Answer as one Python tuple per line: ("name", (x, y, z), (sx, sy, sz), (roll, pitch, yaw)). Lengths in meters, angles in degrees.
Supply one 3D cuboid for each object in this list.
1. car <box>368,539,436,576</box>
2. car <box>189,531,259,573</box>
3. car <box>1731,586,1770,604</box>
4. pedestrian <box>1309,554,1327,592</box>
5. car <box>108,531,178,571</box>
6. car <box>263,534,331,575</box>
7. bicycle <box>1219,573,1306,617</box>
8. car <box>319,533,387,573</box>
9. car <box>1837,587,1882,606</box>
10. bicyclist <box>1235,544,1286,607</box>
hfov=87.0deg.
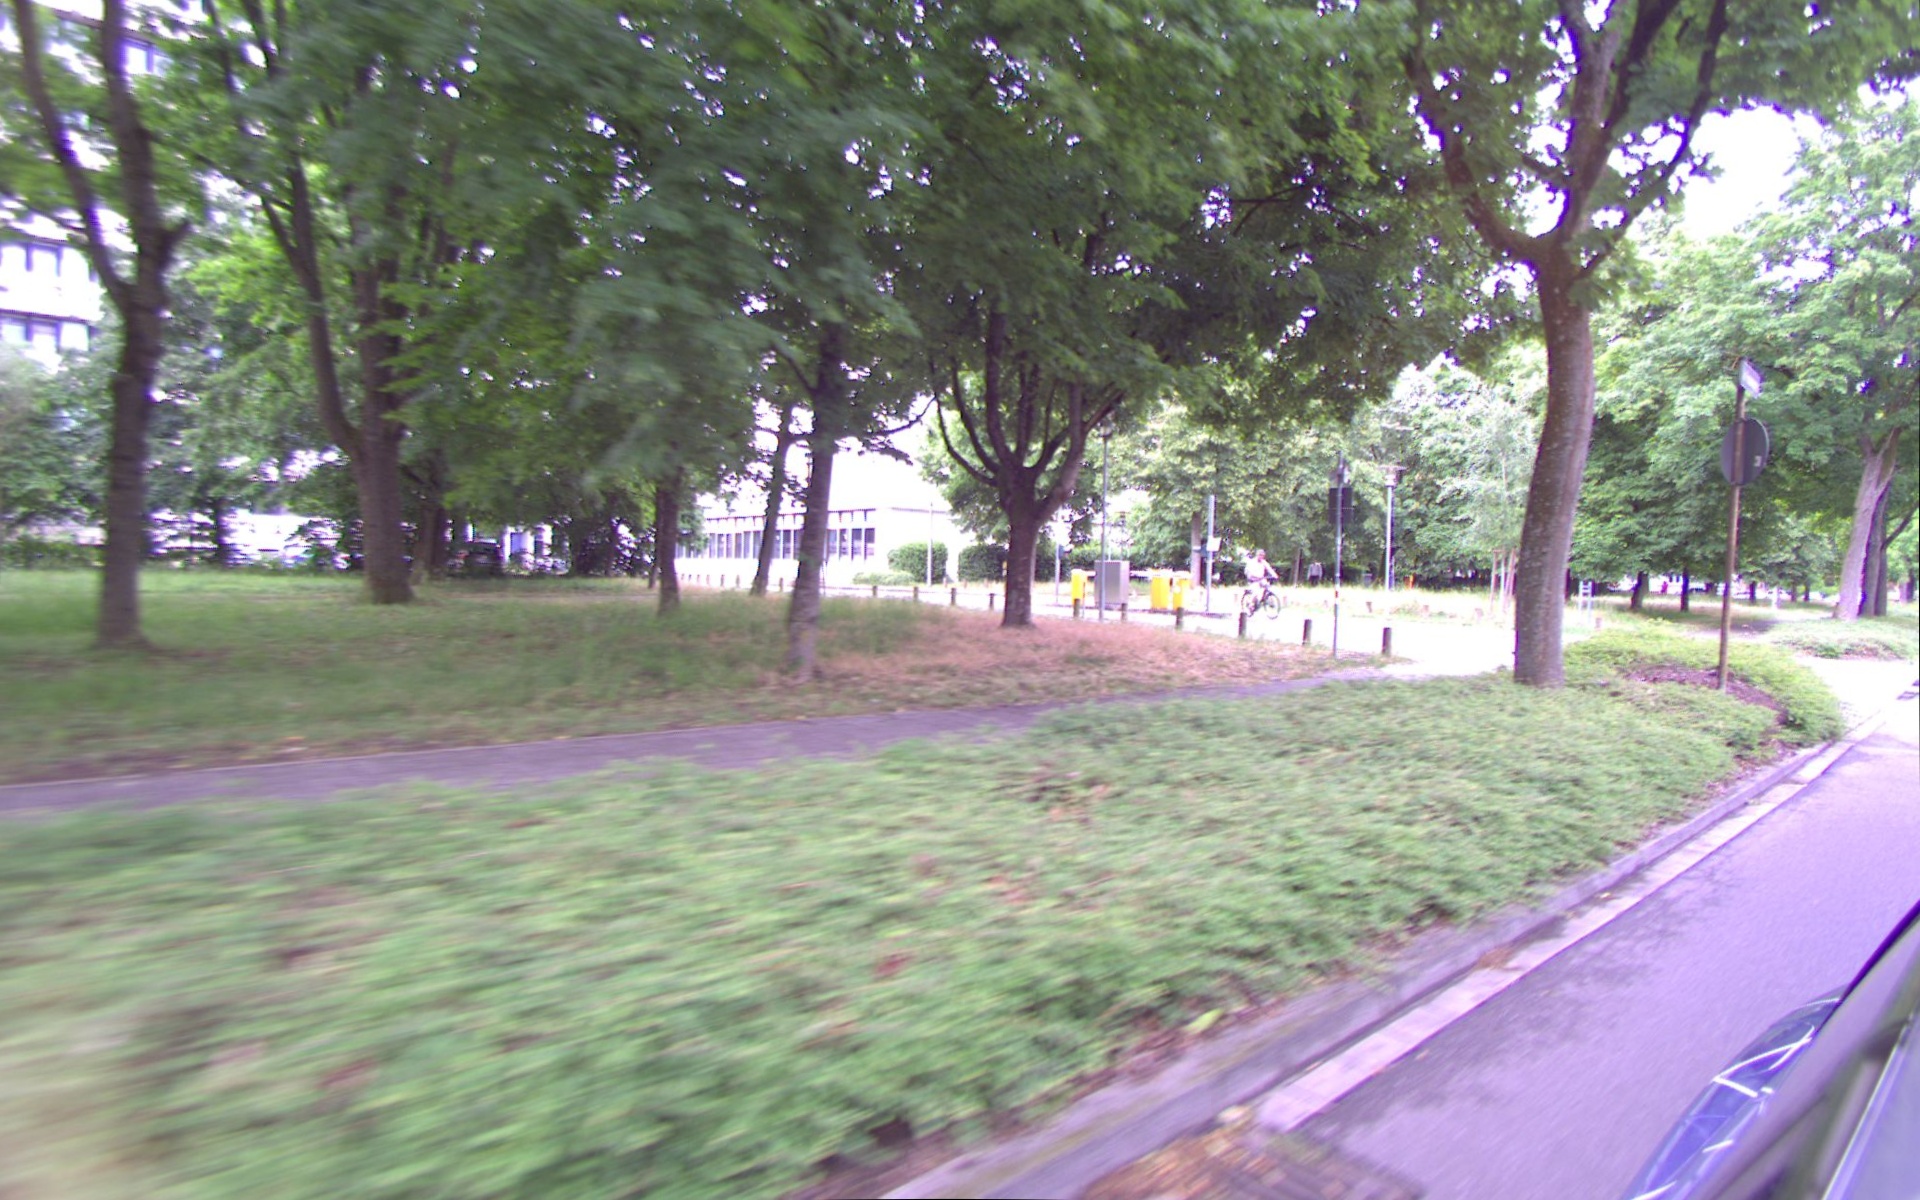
("car", (-28.416, -2.118, 51.500), (3.989, 1.784, 1.968), (2, 2, 45))
("car", (-33.529, -2.130, 46.075), (3.988, 1.749, 1.968), (1, 1, 45))
("car", (87.695, -0.585, 112.279), (3.296, 1.948, 1.786), (1, 0, 38))
("pedestrian", (17.634, -1.330, 49.867), (0.562, 1.820, 0.544), (1, 2, -32))
("car", (-35.874, -2.139, 44.415), (3.989, 1.638, 1.968), (3, 2, 45))
("car", (-31.757, -2.131, 48.437), (3.988, 1.816, 1.968), (1, 1, 45))
("bicycle", (8.244, -0.152, 27.680), (0.854, 1.088, 2.139), (0, 3, -40))
("car", (-30.077, -2.289, 50.113), (3.988, 1.905, 1.968), (1, 1, 45))
("car", (94.562, -0.387, 106.425), (3.296, 1.948, 1.786), (1, 0, 38))
("bicyclist", (8.244, -0.672, 27.770), (1.003, 1.665, 0.922), (0, 2, -41))
